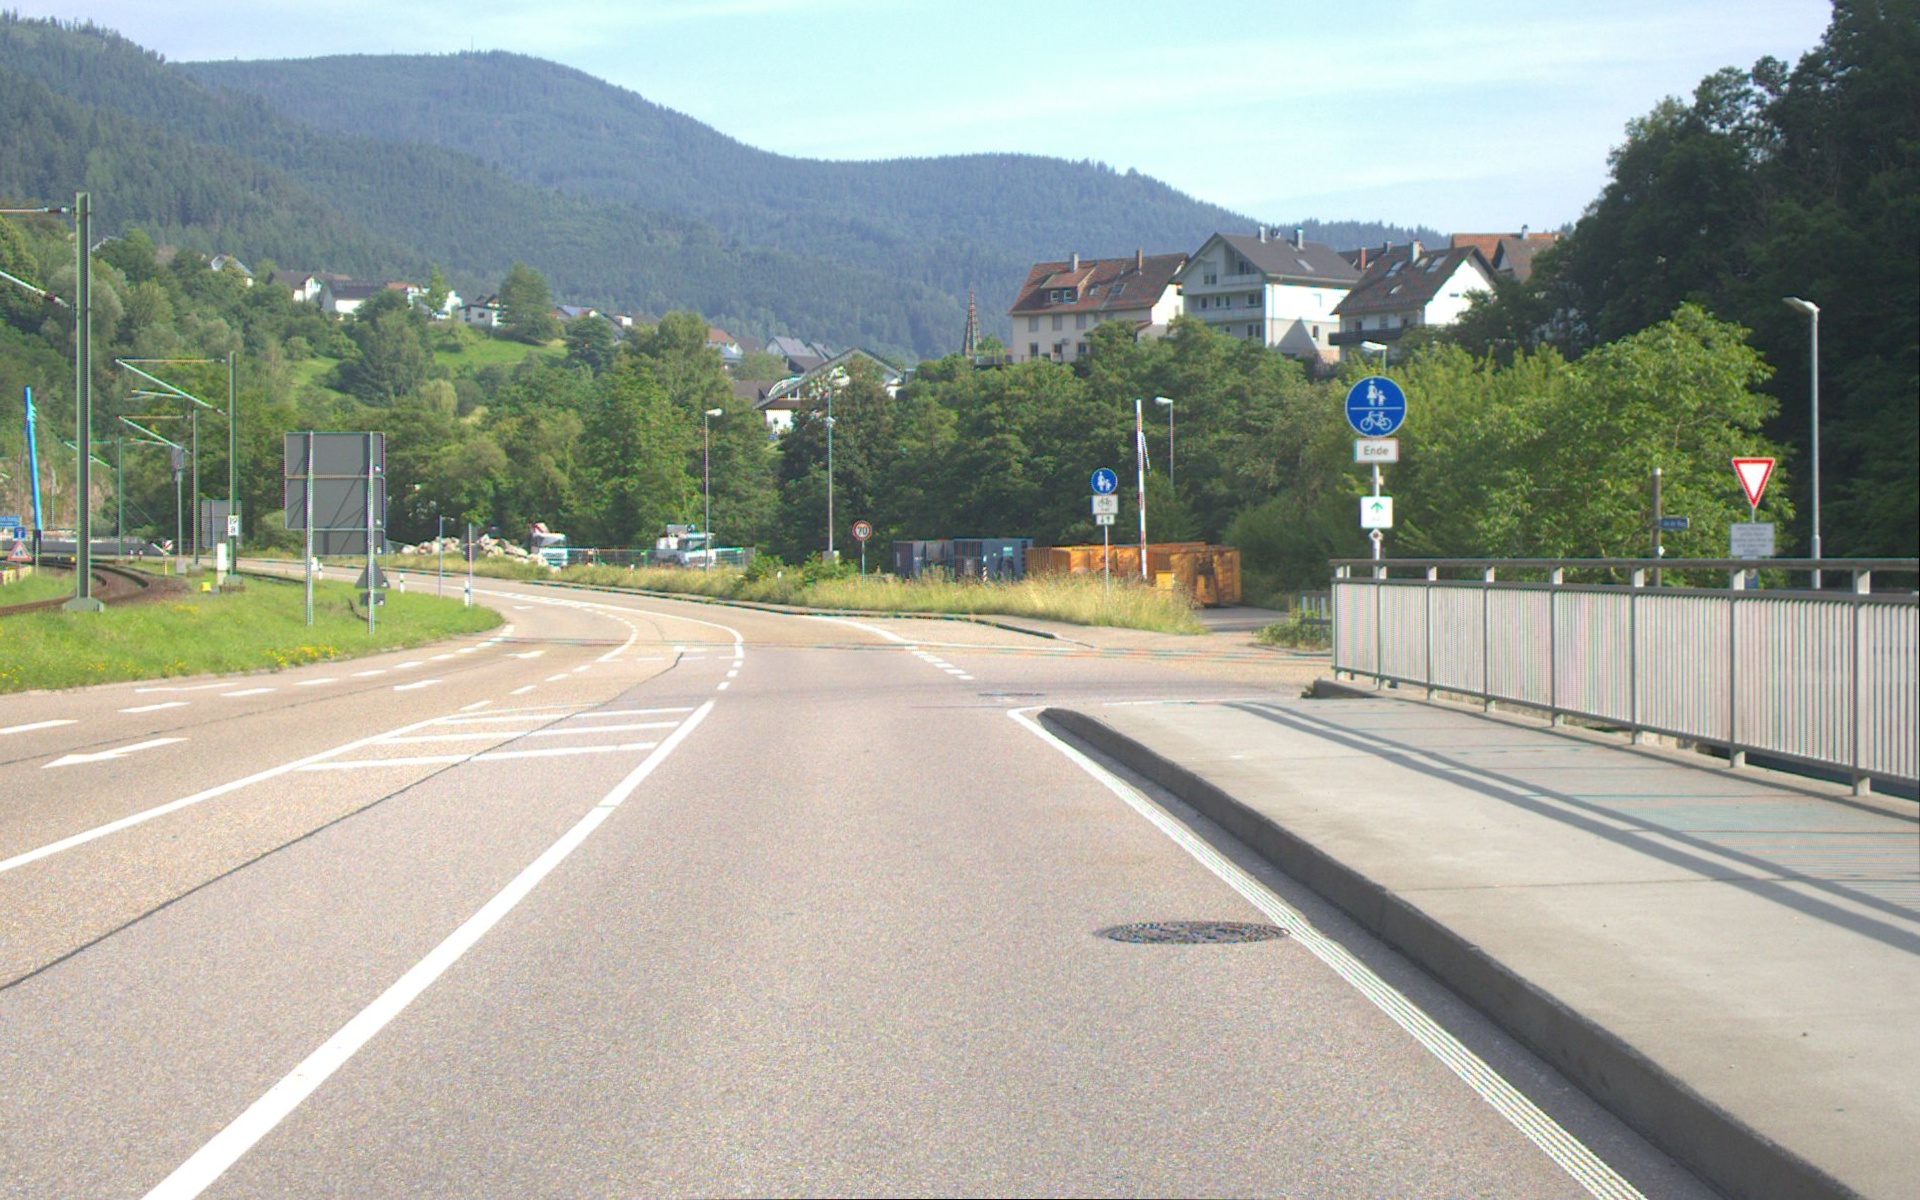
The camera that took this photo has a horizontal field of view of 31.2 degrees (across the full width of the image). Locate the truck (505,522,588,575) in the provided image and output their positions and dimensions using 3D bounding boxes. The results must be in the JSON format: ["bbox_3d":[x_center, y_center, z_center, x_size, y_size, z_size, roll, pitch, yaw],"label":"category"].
[{"bbox_3d":[-30.058,-3.751,249.780,3.102,3.769,8.646,0,1,-27],"label":"truck"}]

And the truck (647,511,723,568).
[{"bbox_3d":[-18.814,-4.148,234.793,3.102,3.769,8.647,0,1,-19],"label":"truck"}]

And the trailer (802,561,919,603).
[{"bbox_3d":[-4.059,-0.760,137.700,2.791,1.469,9.890,2,1,-13],"label":"trailer"}]
